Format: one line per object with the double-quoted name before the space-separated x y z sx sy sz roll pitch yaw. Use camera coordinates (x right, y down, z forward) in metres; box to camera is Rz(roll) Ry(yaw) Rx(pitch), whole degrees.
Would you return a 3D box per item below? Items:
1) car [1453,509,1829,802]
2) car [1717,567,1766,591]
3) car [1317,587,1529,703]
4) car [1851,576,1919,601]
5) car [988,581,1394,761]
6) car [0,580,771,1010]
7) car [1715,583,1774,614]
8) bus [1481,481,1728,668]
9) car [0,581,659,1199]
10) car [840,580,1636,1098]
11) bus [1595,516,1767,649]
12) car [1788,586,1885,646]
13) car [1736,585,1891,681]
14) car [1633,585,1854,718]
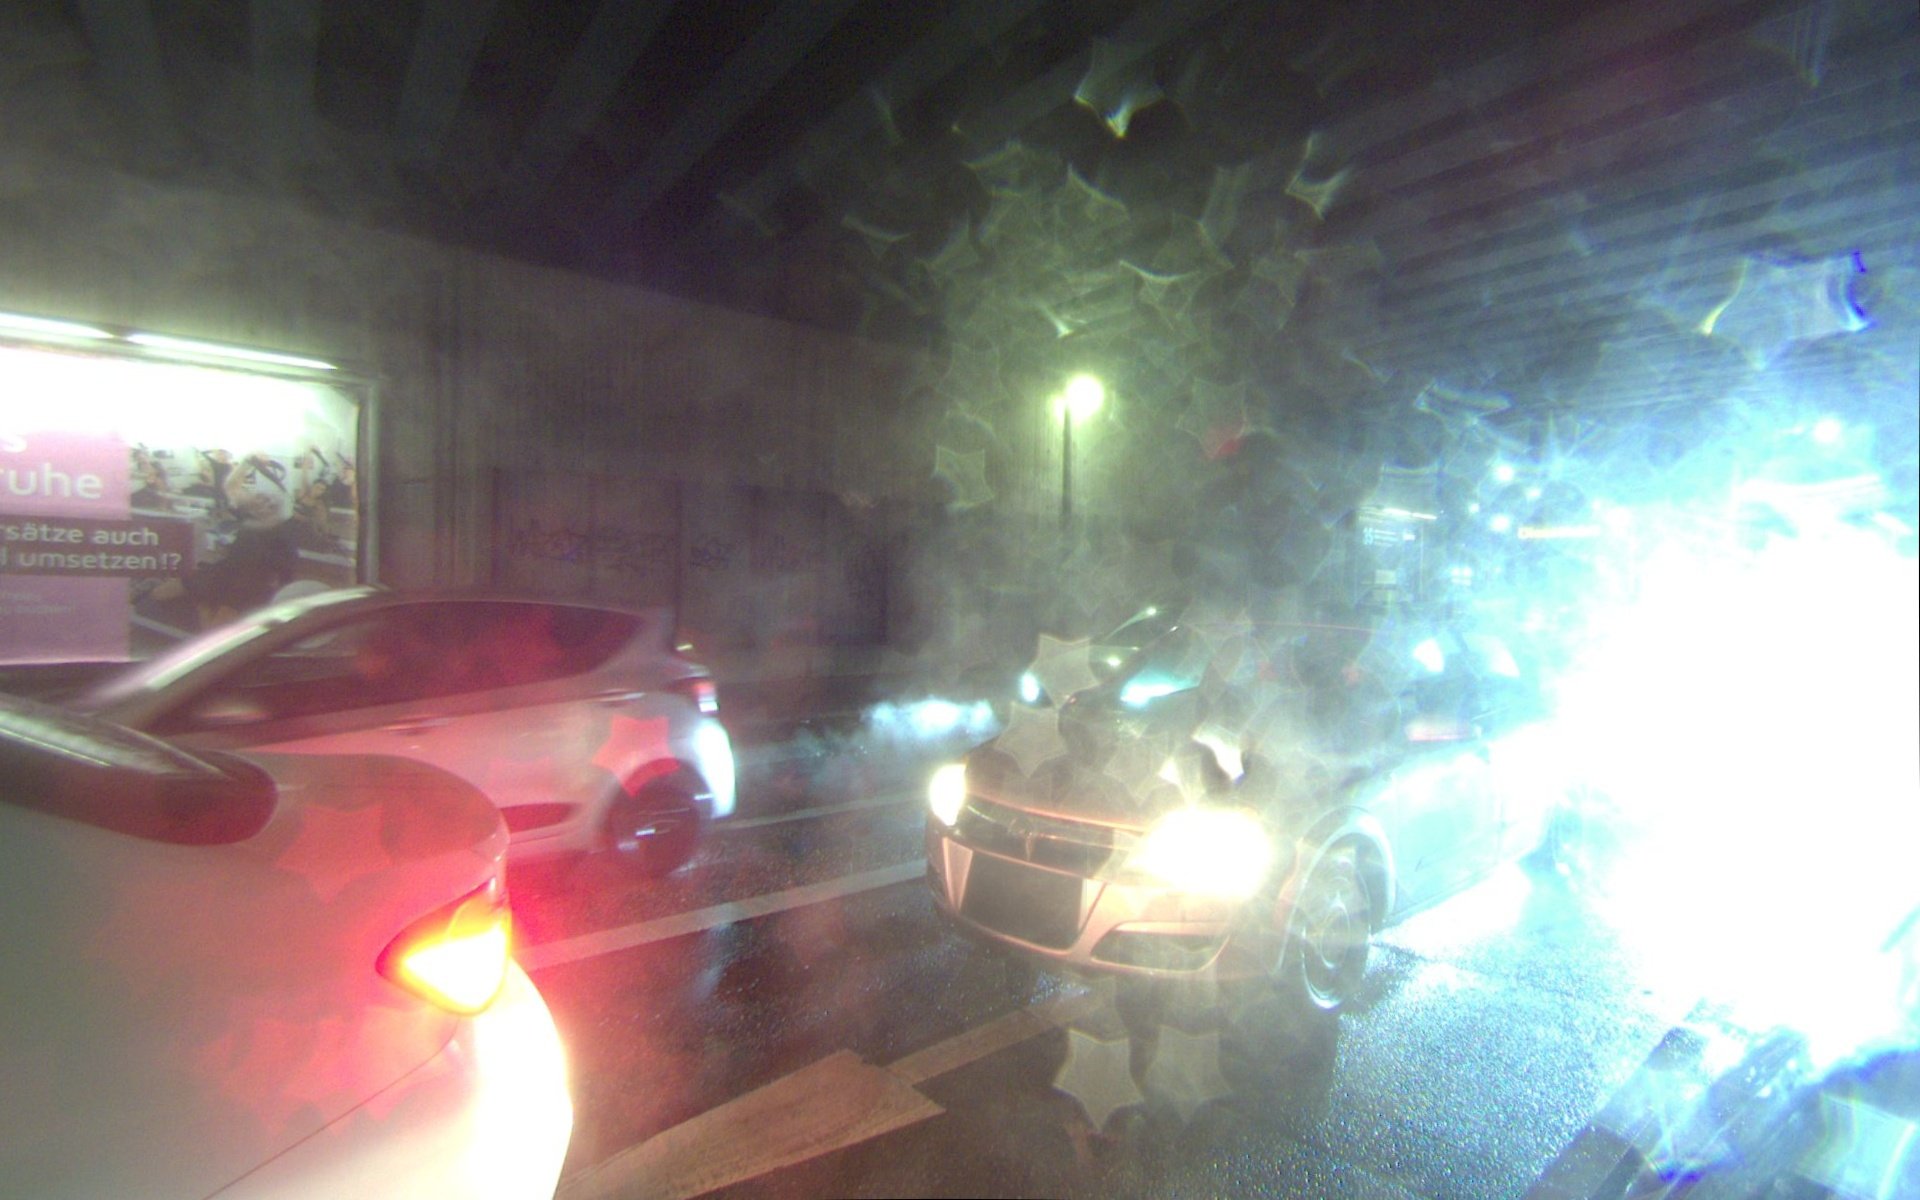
"car" 6.512 0.374 9.481 4.274 2.115 1.996 -1 0 -43
"car" 66.124 -1.726 85.736 1.973 1.950 3.979 0 0 17
"car" 6.907 0.561 14.941 1.750 1.449 3.701 2 1 43
"car" 58.734 -0.733 64.352 1.978 1.538 3.968 0 0 24
"car" 2.484 0.566 10.104 4.489 1.408 1.754 1 0 -43
"car" -2.884 0.653 4.972 3.532 1.477 1.635 -1 0 -42
"car" 41.968 -0.105 54.212 1.727 1.610 3.963 0 0 27
"bus" 14.068 -0.434 21.604 2.768 3.163 9.609 0 0 43
"car" -2.678 0.700 0.975 4.273 1.422 1.719 -1 0 -41
"car" 1.568 0.636 4.814 3.931 1.384 1.791 -2 2 -41
"bus" 20.613 -0.423 28.633 2.768 3.163 9.609 0 0 43
"car" 23.390 0.376 26.960 3.935 1.490 1.679 -1 0 -45
"car" 15.336 0.506 18.119 3.932 1.522 1.627 -1 0 -42
"car" 10.604 0.567 13.602 3.705 1.531 1.865 -1 0 -44
